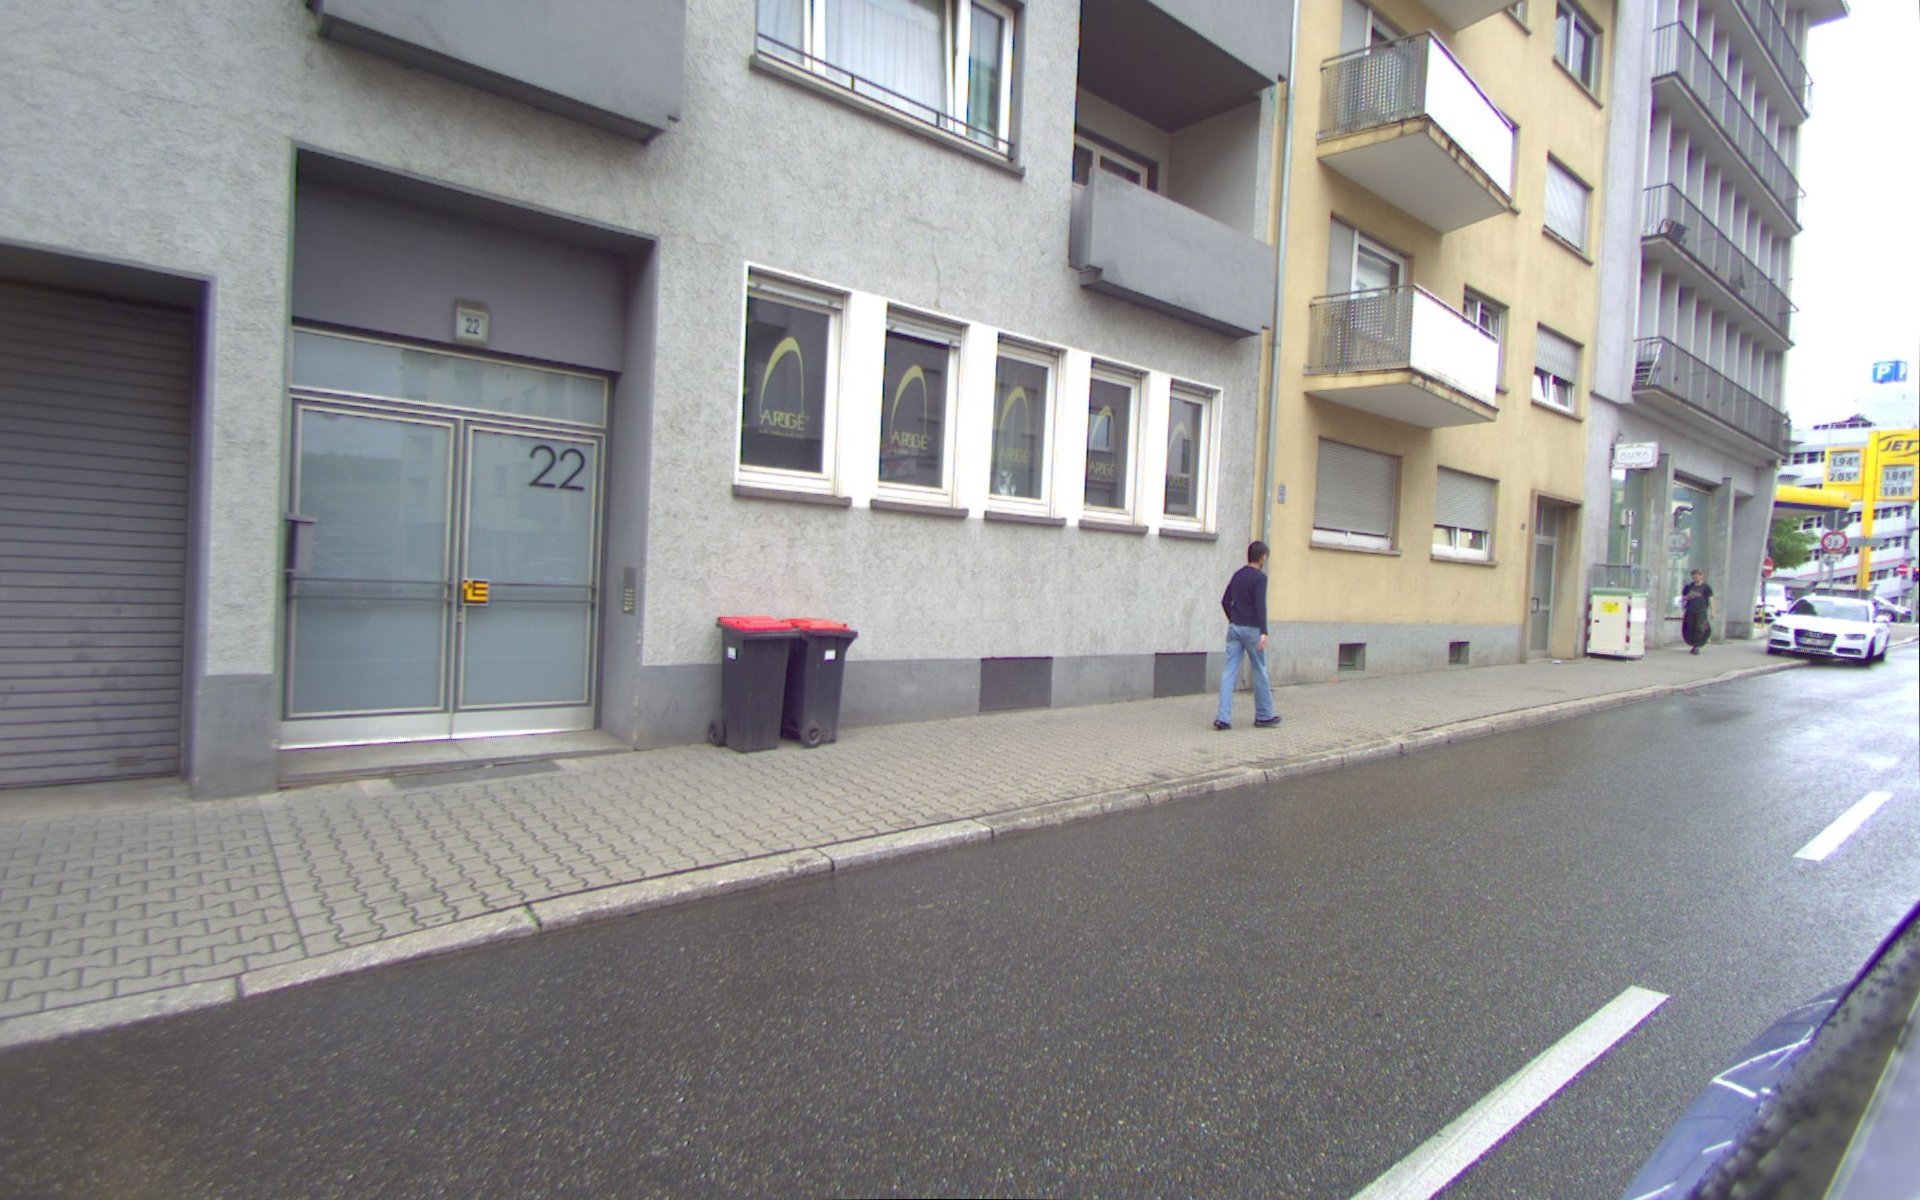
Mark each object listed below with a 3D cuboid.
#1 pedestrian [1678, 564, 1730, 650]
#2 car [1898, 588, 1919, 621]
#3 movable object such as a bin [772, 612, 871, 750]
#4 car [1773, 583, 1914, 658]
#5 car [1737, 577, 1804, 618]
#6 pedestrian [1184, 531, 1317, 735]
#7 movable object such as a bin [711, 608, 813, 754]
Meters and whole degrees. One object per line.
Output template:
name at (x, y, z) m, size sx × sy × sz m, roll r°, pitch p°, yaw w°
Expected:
pedestrian at (15.865, 0.131, 21.587) m, size 0.873 × 1.777 × 0.678 m, roll 0°, pitch 3°, yaw -44°
car at (53.762, 0.330, 54.732) m, size 1.960 × 1.782 × 4.005 m, roll 1°, pitch 3°, yaw -31°
movable object such as a bin at (-1.067, 0.601, 7.792) m, size 0.506 × 0.961 × 0.541 m, roll 0°, pitch 5°, yaw -40°
car at (20.125, 0.411, 23.012) m, size 4.093 × 1.453 × 1.803 m, roll 0°, pitch 4°, yaw -41°
car at (30.904, -0.100, 38.560) m, size 1.765 × 1.493 × 3.939 m, roll 0°, pitch 0°, yaw 42°
pedestrian at (2.756, 0.277, 9.596) m, size 1.038 × 1.799 × 0.644 m, roll 0°, pitch 5°, yaw -41°
movable object such as a bin at (-1.461, 0.571, 7.441) m, size 0.506 × 0.967 × 0.541 m, roll 0°, pitch 5°, yaw -40°
